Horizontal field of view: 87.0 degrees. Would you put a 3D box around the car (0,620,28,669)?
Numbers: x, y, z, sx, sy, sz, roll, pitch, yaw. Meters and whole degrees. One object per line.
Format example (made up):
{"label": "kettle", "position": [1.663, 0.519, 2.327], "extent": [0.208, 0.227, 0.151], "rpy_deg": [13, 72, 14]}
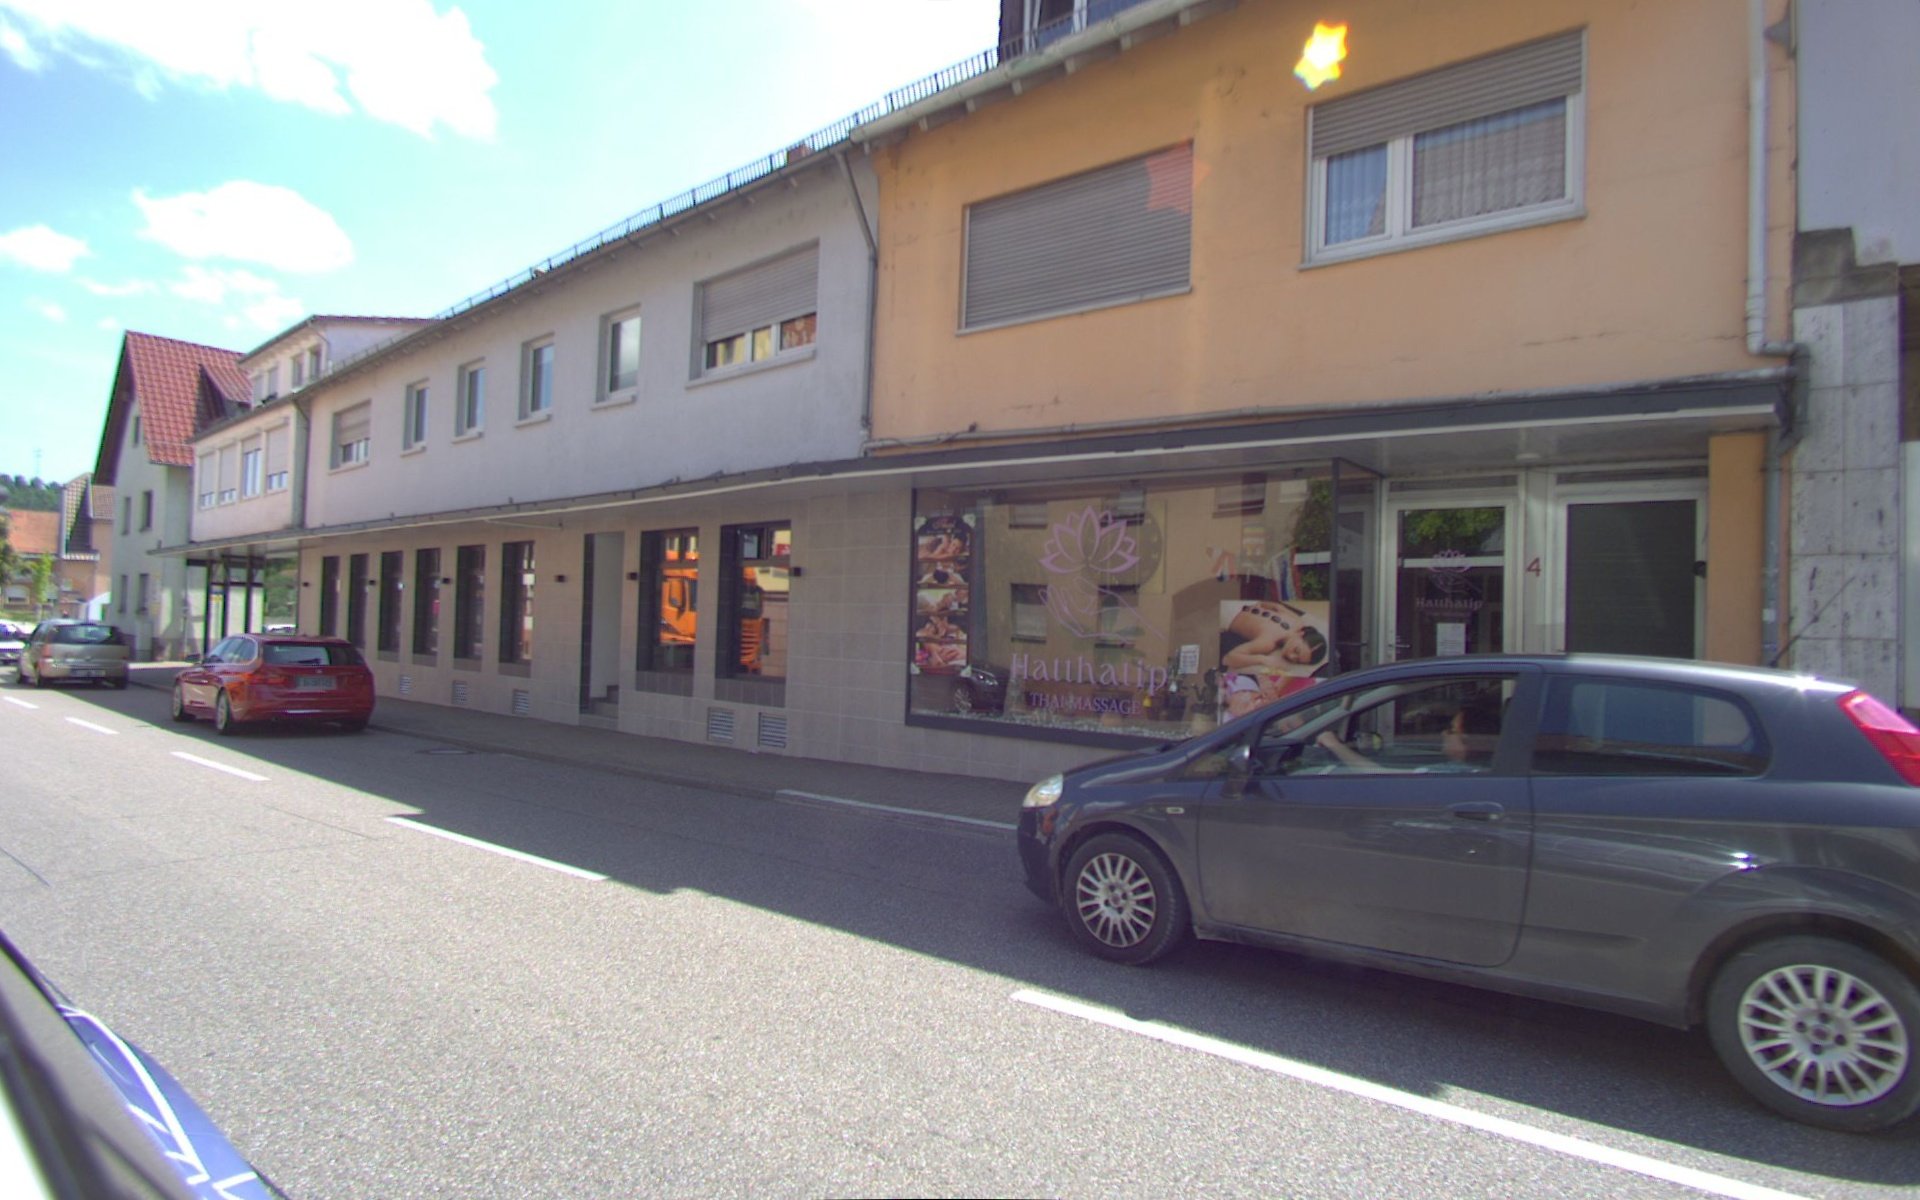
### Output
{"label": "car", "position": [-30.762, 1.348, 31.873], "extent": [3.445, 1.466, 1.580], "rpy_deg": [-1, -5, 40]}

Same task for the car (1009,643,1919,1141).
{"label": "car", "position": [2.259, 0.935, 4.452], "extent": [3.815, 1.434, 1.701], "rpy_deg": [-2, -5, 38]}

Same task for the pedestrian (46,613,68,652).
{"label": "pedestrian", "position": [-40.943, 1.477, 45.887], "extent": [0.475, 1.777, 0.468], "rpy_deg": [1, -2, 18]}

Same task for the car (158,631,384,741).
{"label": "car", "position": [-10.409, 1.236, 15.168], "extent": [4.282, 1.419, 1.699], "rpy_deg": [-2, -6, 41]}

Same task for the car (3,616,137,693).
{"label": "car", "position": [-21.279, 1.308, 24.158], "extent": [3.817, 1.629, 1.662], "rpy_deg": [-2, -7, 39]}
